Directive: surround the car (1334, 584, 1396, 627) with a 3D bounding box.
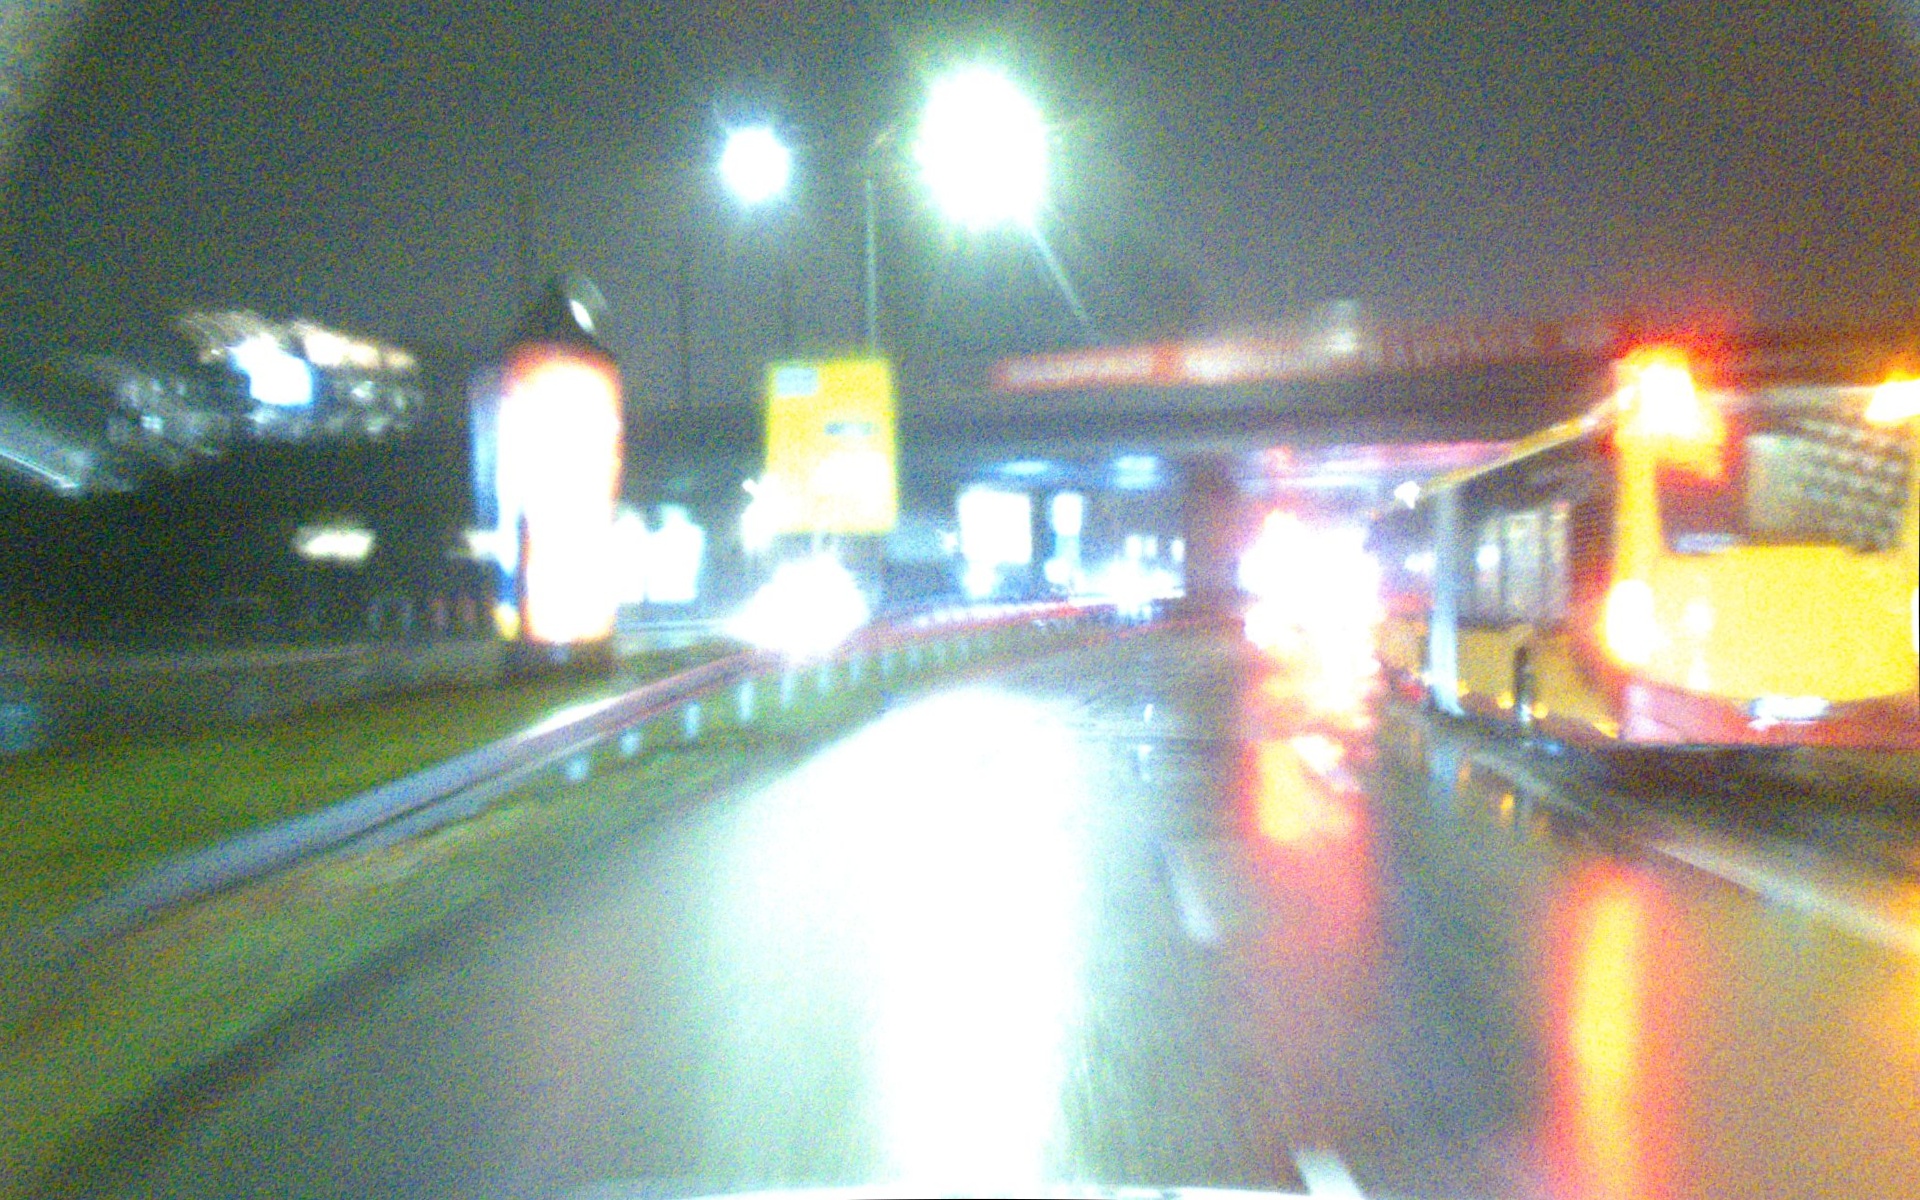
[{"bbox_3d":[16.839,0.200,68.634,1.752,1.713,3.998,1,0,25],"label":"car"}]

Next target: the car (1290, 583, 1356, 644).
[{"bbox_3d":[10.882,0.378,49.397,1.750,1.713,4.003,1,0,15],"label":"car"}]

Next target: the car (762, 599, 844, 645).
[{"bbox_3d":[-5.114,0.703,54.404,1.533,1.452,3.956,1,0,12],"label":"car"}]

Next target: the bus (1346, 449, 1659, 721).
[{"bbox_3d":[7.762,-0.216,25.016,2.979,3.268,9.058,2,0,9],"label":"bus"}]

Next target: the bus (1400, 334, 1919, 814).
[{"bbox_3d":[6.603,-0.198,15.995,2.979,3.268,9.056,2,0,5],"label":"bus"}]
